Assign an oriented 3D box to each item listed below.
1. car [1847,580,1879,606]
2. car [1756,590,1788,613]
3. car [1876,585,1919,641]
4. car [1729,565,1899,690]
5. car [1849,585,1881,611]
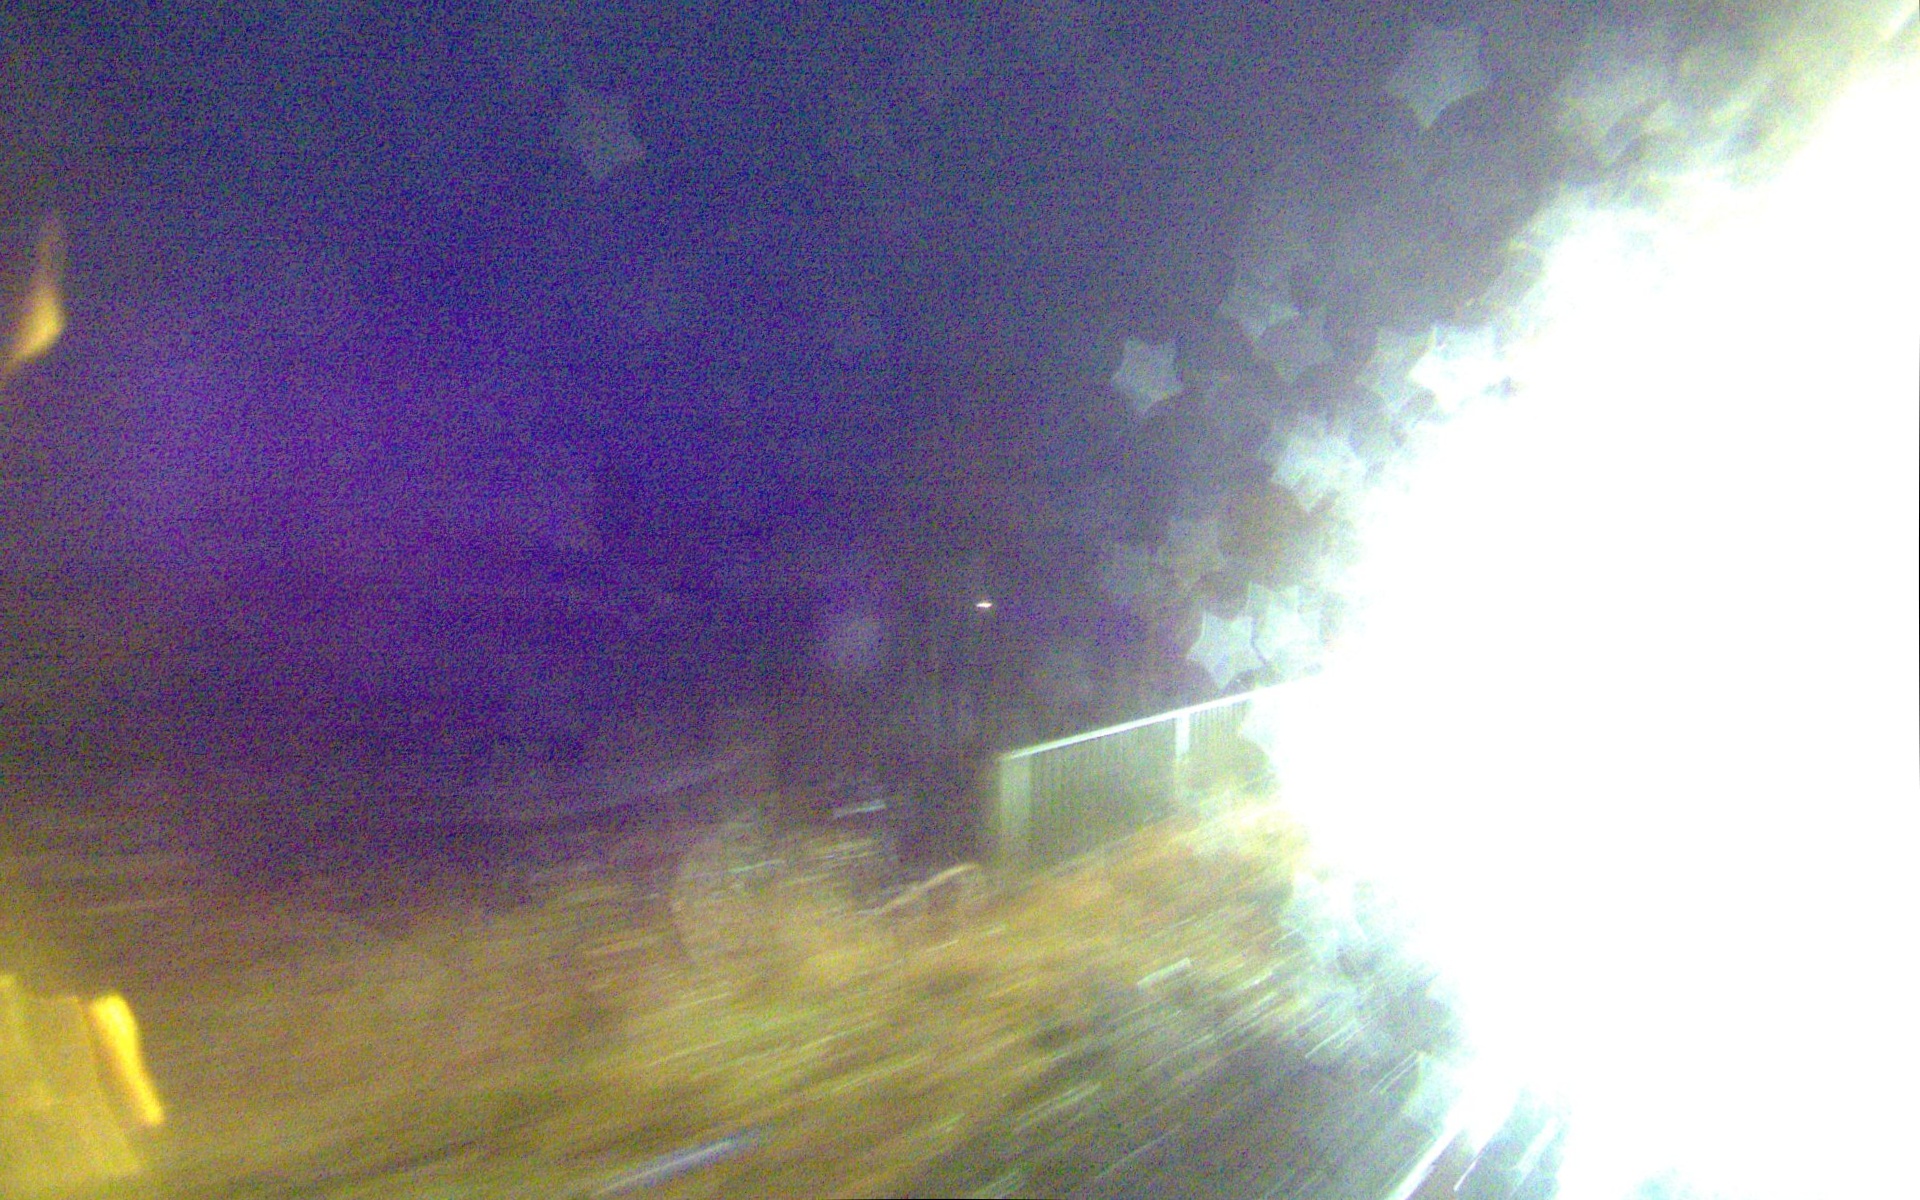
[{"bbox_3d":[75.300,-0.600,84.447,1.785,2.049,4.089,-1,2,39],"label":"car"},{"bbox_3d":[65.742,0.113,81.918,1.949,1.653,4.200,-1,2,39],"label":"car"},{"bbox_3d":[29.986,0.369,31.464,1.821,1.670,4.081,-1,-1,37],"label":"car"},{"bbox_3d":[15.248,0.435,18.140,1.995,1.950,4.306,-5,-2,40],"label":"car"},{"bbox_3d":[70.792,-0.181,79.234,1.659,1.876,4.089,-1,2,39],"label":"car"}]
